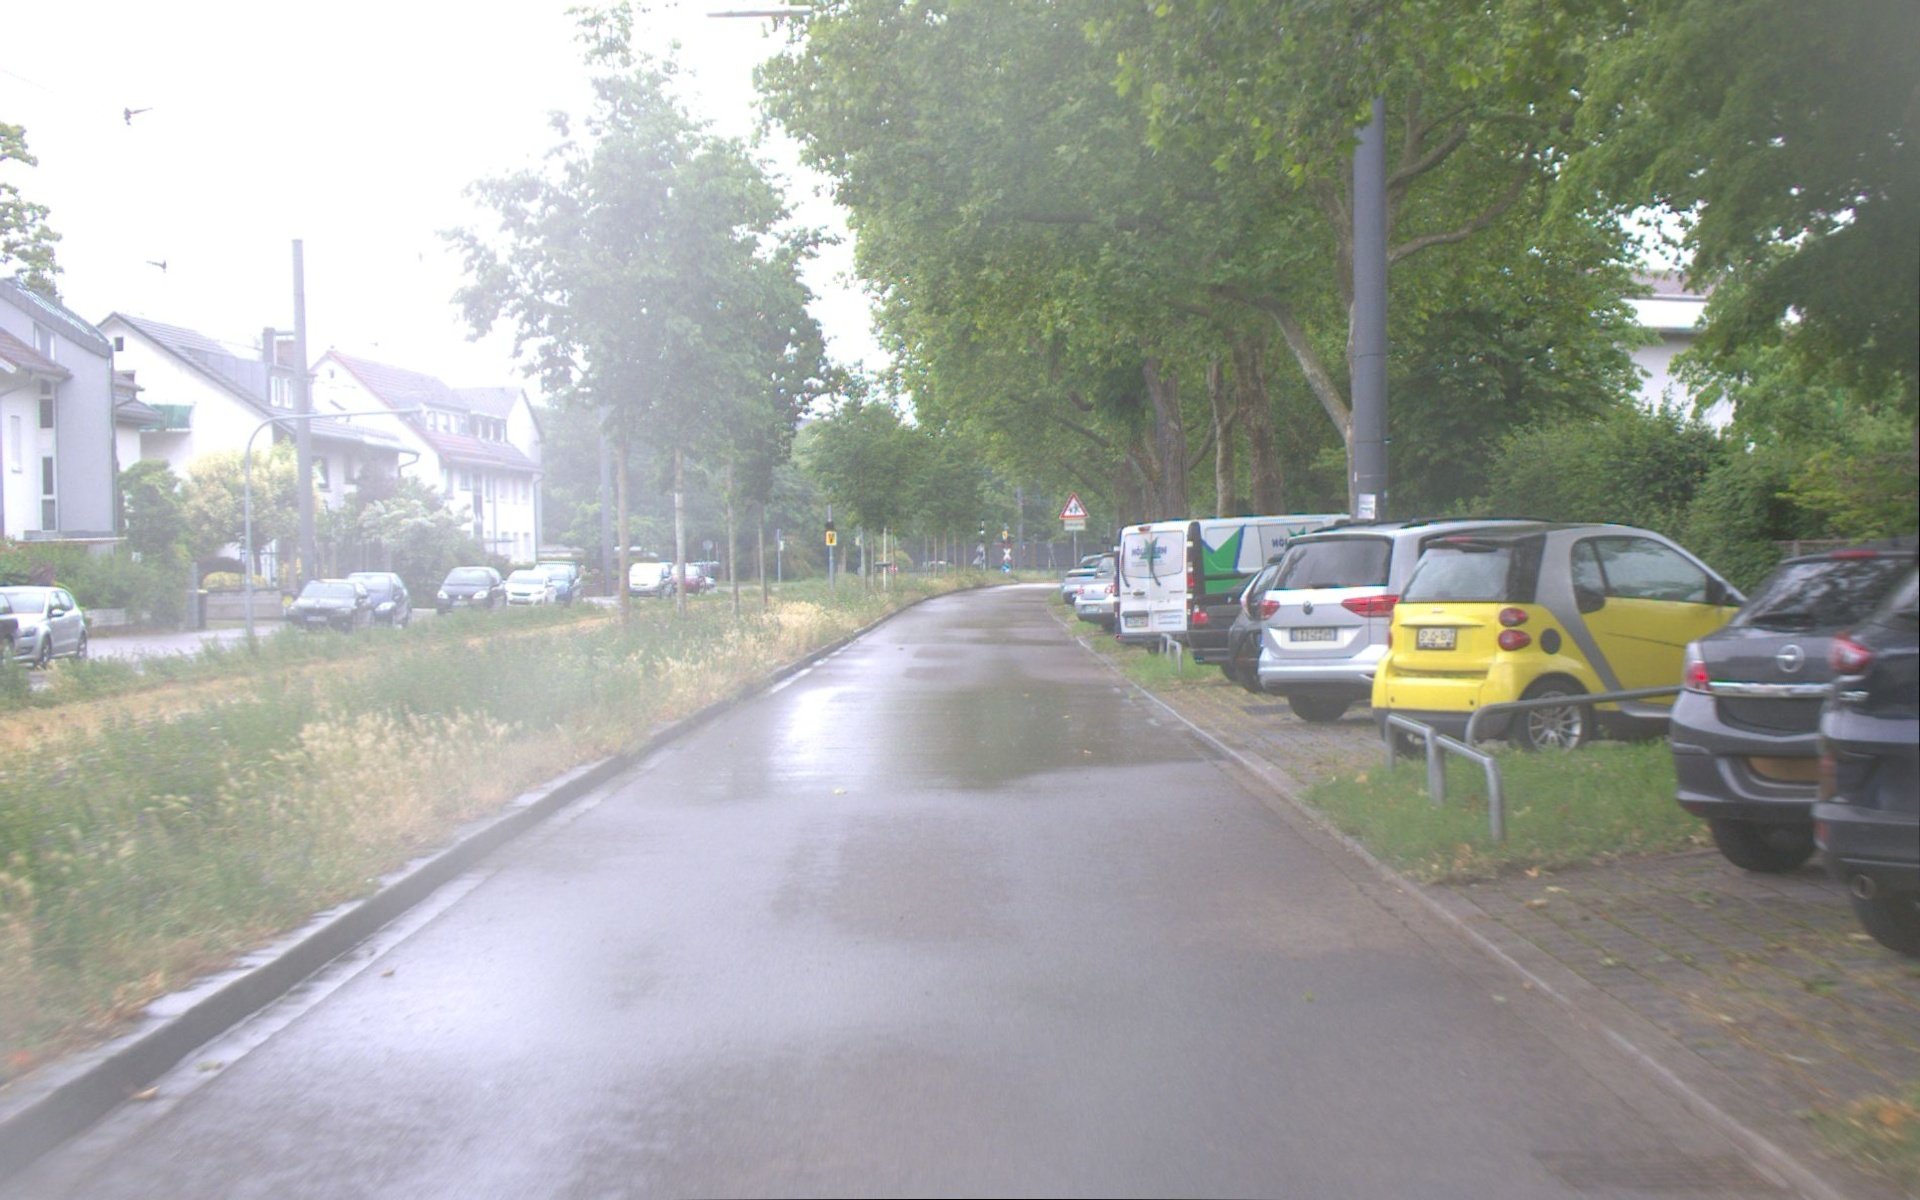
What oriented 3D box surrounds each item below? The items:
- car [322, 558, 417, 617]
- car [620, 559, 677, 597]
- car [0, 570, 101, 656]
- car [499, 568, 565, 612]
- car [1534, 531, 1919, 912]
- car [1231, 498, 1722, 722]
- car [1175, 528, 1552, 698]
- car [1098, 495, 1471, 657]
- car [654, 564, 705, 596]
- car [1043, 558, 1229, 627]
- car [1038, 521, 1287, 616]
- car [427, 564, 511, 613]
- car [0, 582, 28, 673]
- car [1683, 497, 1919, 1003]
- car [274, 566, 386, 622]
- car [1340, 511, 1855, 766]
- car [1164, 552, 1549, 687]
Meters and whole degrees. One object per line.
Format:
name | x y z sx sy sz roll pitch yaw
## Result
car | -16.124 -0.354 94.010 1.874 1.545 3.870 1 1 0
car | -13.905 -0.996 153.614 1.993 1.575 4.517 1 1 2
car | -16.592 0.202 60.389 1.993 1.406 3.971 1 1 0
car | -15.286 -0.365 122.936 1.796 1.483 3.597 1 1 2
car | 4.580 0.390 14.835 4.050 1.413 1.742 -3 1 -36
car | 4.361 0.064 28.746 4.036 1.635 1.654 -3 0 -37
car | 4.112 0.124 34.909 3.394 1.513 1.849 -3 1 -37
car | 4.587 -0.367 48.258 5.014 2.006 2.000 -4 2 -34
car | -13.656 -0.994 167.420 1.993 1.483 4.205 1 1 2
car | 4.756 -0.212 92.624 4.761 1.662 1.994 -3 1 -35
car | 4.007 -0.625 67.639 4.546 1.539 1.888 -5 2 -31
car | -15.872 -0.392 111.291 1.993 1.511 4.205 1 1 2
car | -16.485 0.460 54.608 1.993 1.450 4.531 1 1 2
car | 4.509 0.369 11.439 3.792 1.527 1.883 -3 2 -31
car | -16.264 -0.181 88.950 1.993 1.346 4.240 1 1 2
car | 4.189 0.235 22.605 2.895 1.461 1.604 -3 0 -28
car | 4.458 0.187 38.327 4.293 1.379 1.740 -2 1 -39
